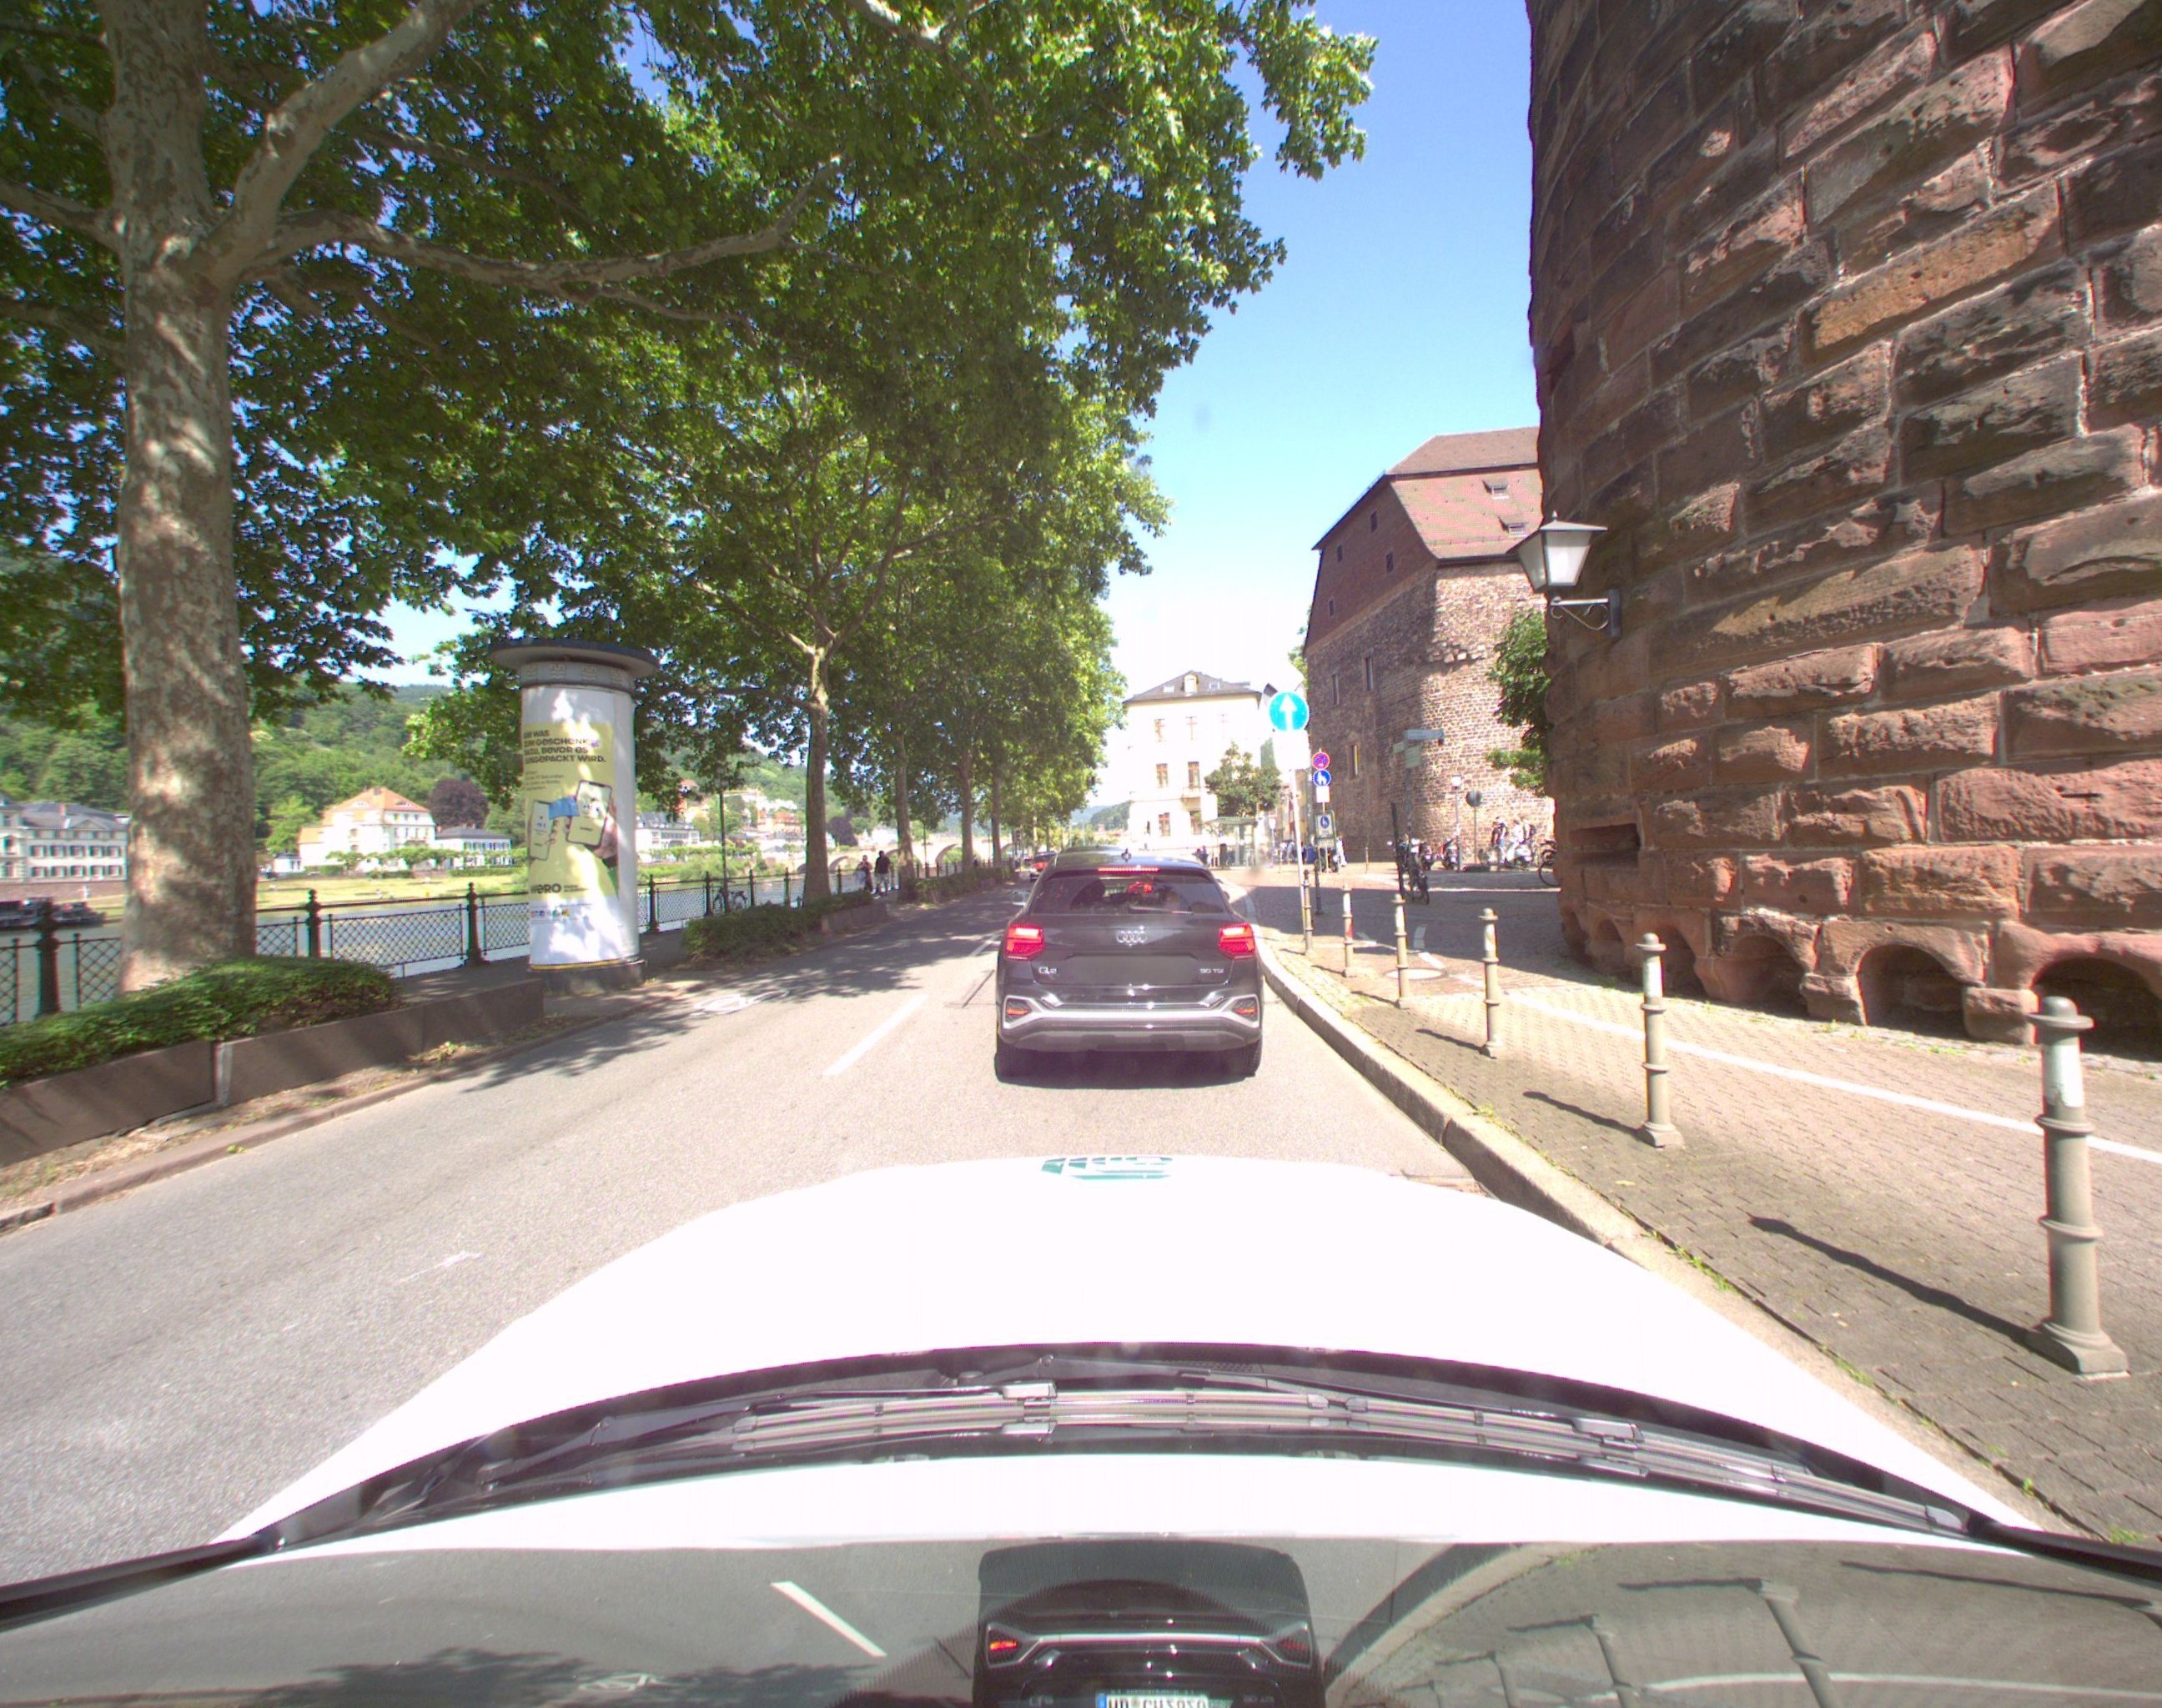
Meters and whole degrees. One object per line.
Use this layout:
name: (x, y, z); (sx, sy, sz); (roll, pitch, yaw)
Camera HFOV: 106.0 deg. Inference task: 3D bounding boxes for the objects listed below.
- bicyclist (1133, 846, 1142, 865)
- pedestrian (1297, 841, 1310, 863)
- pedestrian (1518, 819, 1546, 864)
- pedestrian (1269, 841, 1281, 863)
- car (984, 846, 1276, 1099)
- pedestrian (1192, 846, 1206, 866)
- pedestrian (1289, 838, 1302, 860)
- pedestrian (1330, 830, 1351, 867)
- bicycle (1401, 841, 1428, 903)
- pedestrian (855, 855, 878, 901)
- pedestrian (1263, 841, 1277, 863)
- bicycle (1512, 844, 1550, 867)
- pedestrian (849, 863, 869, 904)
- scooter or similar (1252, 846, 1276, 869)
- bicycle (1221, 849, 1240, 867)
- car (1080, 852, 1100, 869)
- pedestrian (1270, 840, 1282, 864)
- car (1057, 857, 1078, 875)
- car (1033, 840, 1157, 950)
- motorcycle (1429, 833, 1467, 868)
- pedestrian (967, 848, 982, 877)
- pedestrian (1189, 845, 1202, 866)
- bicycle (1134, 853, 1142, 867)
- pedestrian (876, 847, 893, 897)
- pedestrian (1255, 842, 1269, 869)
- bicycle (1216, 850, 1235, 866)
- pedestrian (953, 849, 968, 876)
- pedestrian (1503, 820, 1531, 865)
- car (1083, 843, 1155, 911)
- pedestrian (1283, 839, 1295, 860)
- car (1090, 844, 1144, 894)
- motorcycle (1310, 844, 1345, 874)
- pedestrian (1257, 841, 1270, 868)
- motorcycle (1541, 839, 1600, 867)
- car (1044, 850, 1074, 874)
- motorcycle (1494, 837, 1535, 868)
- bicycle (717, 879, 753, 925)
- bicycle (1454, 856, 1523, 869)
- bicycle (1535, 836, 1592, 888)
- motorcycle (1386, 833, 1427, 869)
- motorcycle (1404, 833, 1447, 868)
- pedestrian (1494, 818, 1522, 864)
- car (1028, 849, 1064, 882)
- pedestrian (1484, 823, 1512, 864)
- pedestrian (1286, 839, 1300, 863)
bicyclist: (4.362, 0.089, 62.606); (0.604, 1.450, 0.590); (0, -1, -3)
pedestrian: (16.727, -0.179, 61.157); (0.684, 1.612, 0.896); (-4, 0, 25)
pedestrian: (19.520, -0.516, 35.281); (0.673, 1.920, 0.813); (0, -1, -31)
pedestrian: (17.554, -0.184, 73.769); (0.941, 2.014, 0.808); (0, -1, 2)
car: (0.350, 0.697, 6.692); (1.736, 1.509, 3.649); (0, 0, 2)
pedestrian: (6.971, 0.117, 48.175); (0.662, 1.211, 0.640); (0, -1, -4)
pedestrian: (16.531, -0.387, 62.851); (0.773, 1.621, 0.646); (-3, 0, 4)
pedestrian: (12.129, -0.251, 38.066); (0.800, 1.662, 0.660); (-3, 0, 25)
bicycle: (6.855, 0.331, 16.758); (0.192, 1.203, 1.775); (-2, 1, 13)
pedestrian: (-8.028, 0.889, 30.480); (0.599, 1.685, 0.583); (-3, 0, 0)
pedestrian: (12.966, -0.131, 55.913); (0.637, 1.444, 0.797); (-4, 0, -5)
bicycle: (16.629, 0.055, 30.138); (0.352, 0.820, 1.926); (0, 1, 1)
pedestrian: (-7.453, 0.990, 27.362); (0.476, 1.362, 0.418); (-2, 0, 5)
scooter or similar: (8.857, 0.165, 39.333); (1.085, 1.066, 0.323); (0, -1, -1)
bicycle: (8.981, 0.238, 48.897); (1.205, 1.035, 0.178); (0, -1, -17)
car: (1.012, 0.687, 90.618); (1.985, 1.806, 4.003); (0, -1, 3)
pedestrian: (16.396, -0.188, 68.334); (0.836, 2.014, 0.738); (0, -1, 2)
car: (-1.272, 1.177, 80.342); (1.732, 1.572, 4.093); (-6, 0, 2)
car: (0.258, 0.598, 13.573); (1.786, 1.595, 3.400); (0, 0, 2)
motorcycle: (13.641, -0.110, 30.329); (0.544, 1.235, 2.031); (0, -1, 2)
pedestrian: (-7.549, 0.582, 57.598); (0.906, 2.014, 0.587); (-1, -1, 6)
pedestrian: (6.876, 0.100, 48.917); (0.662, 1.231, 0.640); (0, -1, -4)
bicycle: (4.361, 0.462, 62.687); (0.436, 1.086, 1.675); (0, -1, -2)
pedestrian: (-7.510, 0.691, 31.110); (0.532, 1.887, 0.437); (0, 0, 1)
pedestrian: (12.659, 0.110, 56.956); (0.740, 1.890, 0.756); (-1, -1, 27)
bicycle: (8.763, 0.242, 49.534); (1.187, 1.016, 0.178); (0, -1, -17)
pedestrian: (-8.165, 0.573, 55.301); (0.906, 1.811, 0.586); (-1, -3, 6)
pedestrian: (18.727, -0.488, 34.995); (0.672, 1.884, 0.814); (0, -1, -26)
car: (0.991, 0.554, 21.714); (1.704, 1.609, 3.656); (-1, 0, 2)
pedestrian: (16.258, -0.346, 63.750); (0.772, 1.564, 0.647); (-3, 0, 7)
car: (1.266, 0.496, 29.260); (1.788, 1.682, 4.002); (-1, 0, 2)
motorcycle: (9.058, 0.176, 30.019); (0.564, 1.012, 2.490); (-2, 0, 1)
pedestrian: (9.519, 0.011, 42.508); (0.555, 1.385, 0.588); (-1, -1, 4)
motorcycle: (18.475, -0.032, 30.743); (1.854, 1.054, 0.481); (-1, -1, 9)
car: (-1.643, 0.570, 61.980); (1.761, 1.660, 4.004); (-4, 0, 3)
motorcycle: (15.471, -0.053, 29.090); (0.505, 1.073, 1.841); (0, -1, 2)
bicycle: (-8.888, 1.206, 20.958); (0.358, 1.091, 1.296); (1, 0, 1)
bicycle: (13.637, 0.290, 27.318); (1.914, 0.381, 0.921); (-2, -1, 16)
bicycle: (11.522, 0.178, 19.490); (0.444, 1.162, 1.733); (-2, 0, 5)
motorcycle: (11.930, -0.086, 29.898); (0.653, 1.266, 2.201); (-2, -1, 2)
motorcycle: (12.779, -0.124, 30.239); (0.672, 1.235, 2.313); (0, -1, 2)
pedestrian: (19.212, -0.576, 36.661); (0.736, 2.014, 0.868); (0, -1, -36)
car: (-1.957, 0.620, 46.444); (1.667, 1.660, 4.224); (-5, 0, 1)
pedestrian: (18.456, -0.464, 36.072); (0.656, 1.802, 0.838); (-1, 0, -33)
pedestrian: (17.666, -0.255, 67.925); (0.936, 2.014, 0.808); (0, -1, 3)
